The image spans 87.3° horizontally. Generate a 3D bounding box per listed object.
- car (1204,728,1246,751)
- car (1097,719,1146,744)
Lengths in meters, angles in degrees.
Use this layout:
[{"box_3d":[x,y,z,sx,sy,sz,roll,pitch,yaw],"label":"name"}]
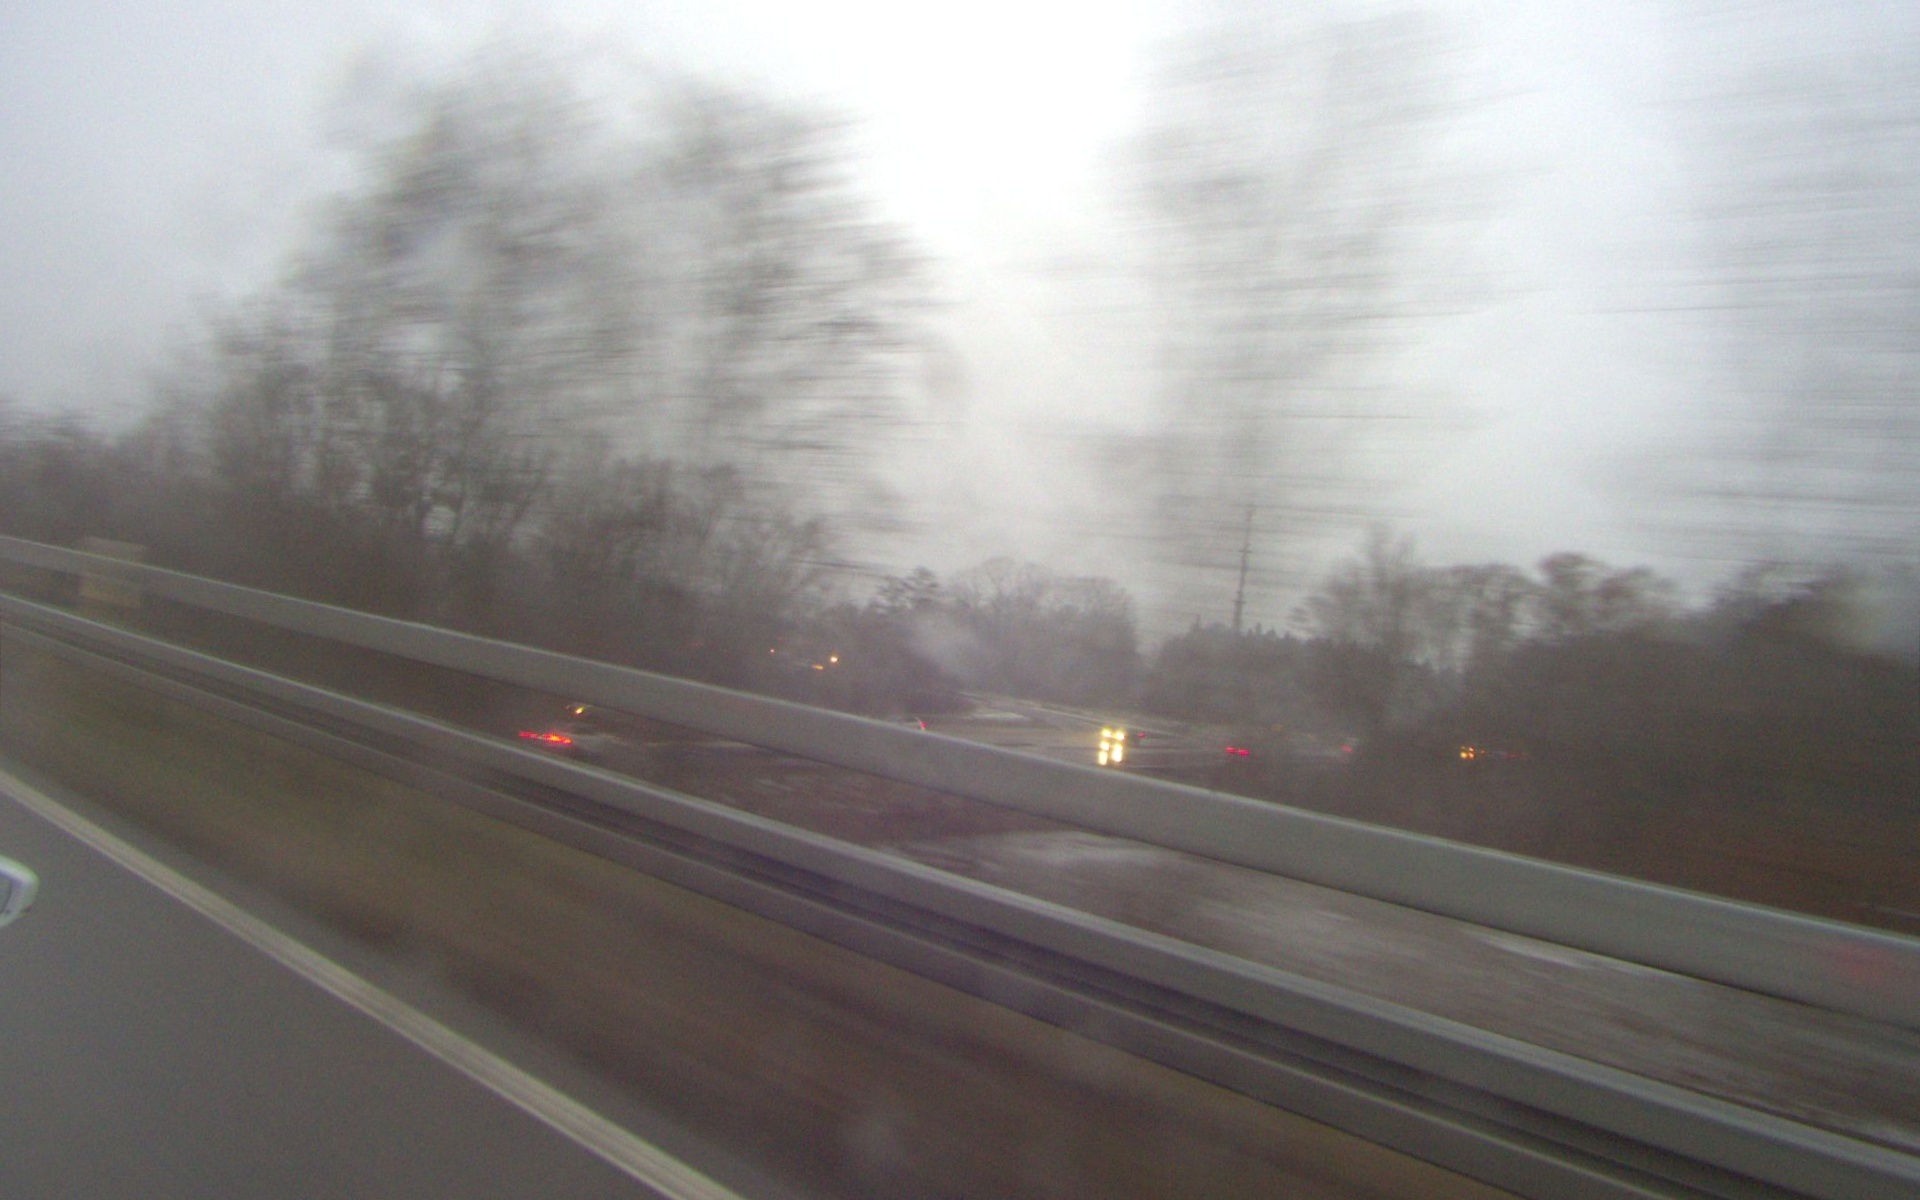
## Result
[{"box_3d":[29.657,15.631,112.404,1.973,2.036,5.690,7,-3,43],"label":"car"},{"box_3d":[16.223,13.196,100.828,1.971,2.036,5.695,7,-3,39],"label":"car"}]
